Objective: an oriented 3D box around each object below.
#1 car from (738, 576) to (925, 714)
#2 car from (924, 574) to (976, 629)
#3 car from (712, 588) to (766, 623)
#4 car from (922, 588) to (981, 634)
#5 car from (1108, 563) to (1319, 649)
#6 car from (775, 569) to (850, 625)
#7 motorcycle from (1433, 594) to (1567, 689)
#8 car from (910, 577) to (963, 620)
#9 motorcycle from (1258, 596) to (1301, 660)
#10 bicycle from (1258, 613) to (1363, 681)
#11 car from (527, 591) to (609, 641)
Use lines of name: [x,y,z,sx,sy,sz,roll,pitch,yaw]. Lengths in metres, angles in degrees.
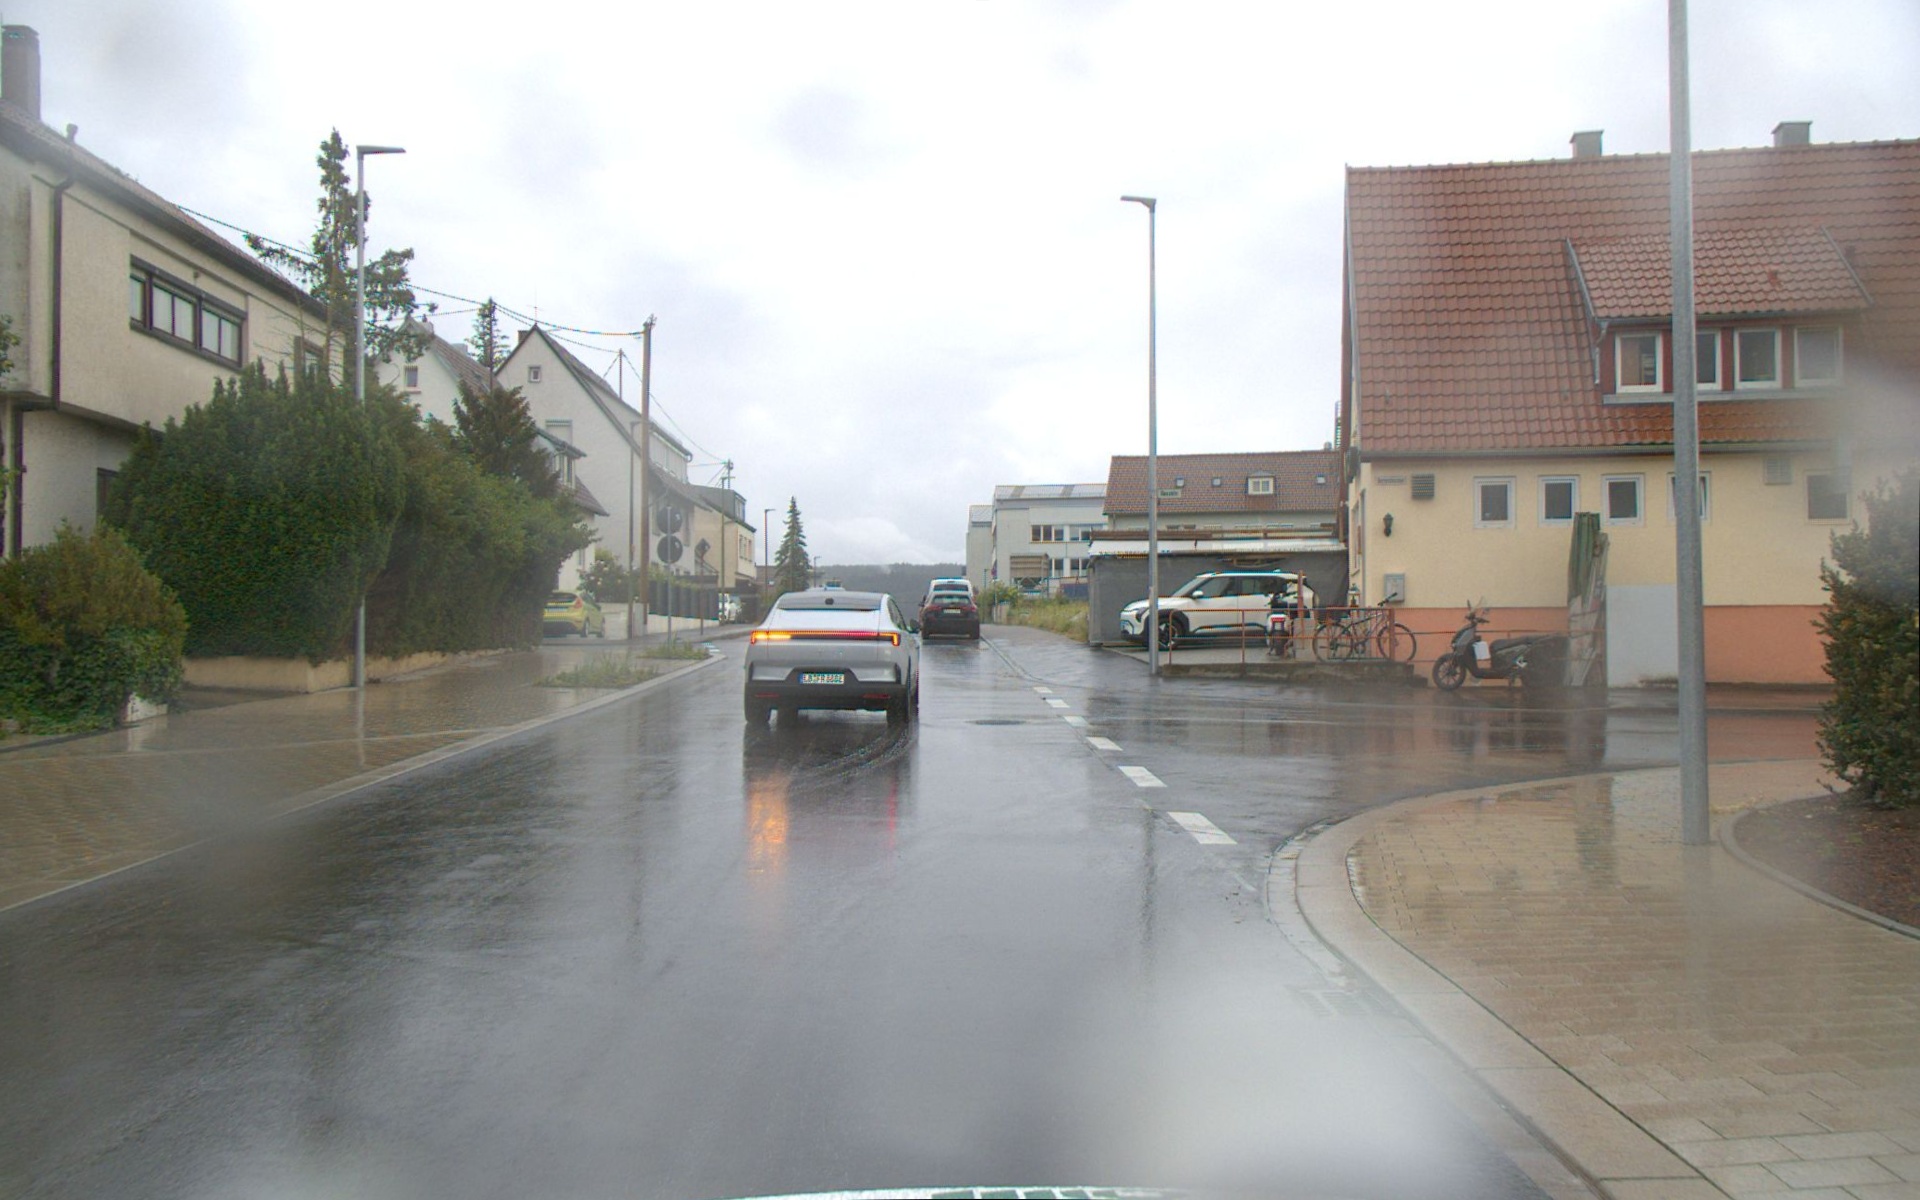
car: [-1.472,0.507,20.691,1.952,1.528,4.670,0,0,0]
car: [-0.381,0.066,58.216,1.733,1.857,4.573,1,0,-2]
car: [-10.623,0.290,79.855,1.953,1.536,4.894,3,-1,-1]
car: [-0.305,0.345,51.416,1.733,1.359,4.319,1,0,-2]
car: [5.378,0.132,35.425,4.132,1.638,1.860,-2,-1,-3]
car: [-4.282,-0.073,48.571,1.890,1.566,4.319,1,0,-2]
motorcycle: [8.571,0.646,26.310,1.989,1.482,0.489,0,-1,11]
car: [-0.947,-0.049,64.969,1.611,1.602,4.637,1,0,-6]
motorcycle: [5.872,0.494,30.461,0.477,1.115,2.001,0,1,3]
bicycle: [5.953,0.796,28.123,1.732,1.115,0.490,0,1,13]
car: [-12.076,0.510,51.133,1.742,1.493,3.456,0,-1,-1]
